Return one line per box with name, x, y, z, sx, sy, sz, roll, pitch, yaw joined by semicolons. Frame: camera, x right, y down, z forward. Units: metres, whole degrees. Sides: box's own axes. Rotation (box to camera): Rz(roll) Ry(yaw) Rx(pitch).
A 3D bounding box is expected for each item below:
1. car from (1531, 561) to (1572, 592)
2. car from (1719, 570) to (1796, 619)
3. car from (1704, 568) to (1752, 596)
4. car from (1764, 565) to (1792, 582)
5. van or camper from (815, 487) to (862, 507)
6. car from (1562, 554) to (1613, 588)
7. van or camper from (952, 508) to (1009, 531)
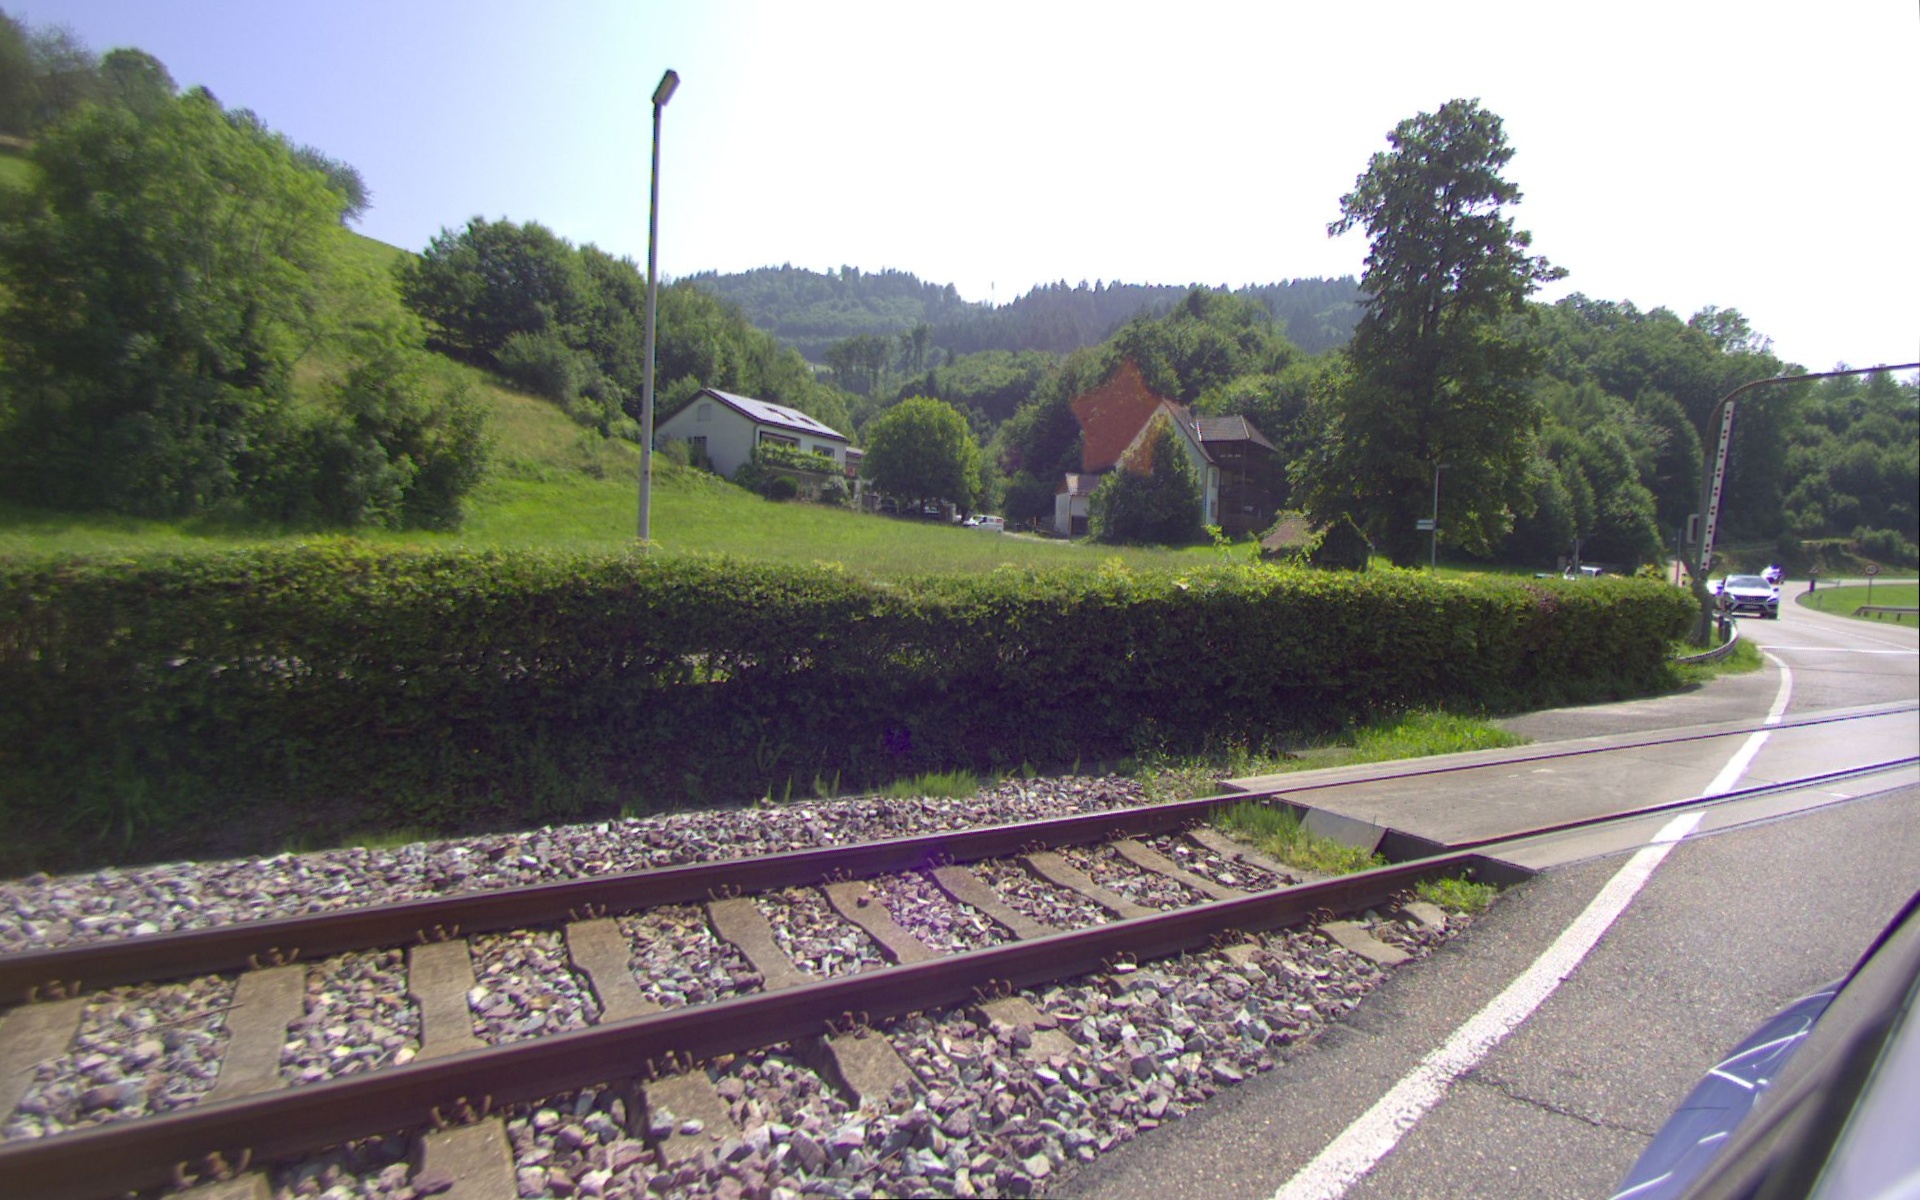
car;35.156;-1.426;60.196;1.662;1.473;3.686;6;6;25
car;34.140;-0.303;43.449;2.105;1.835;4.403;4;5;33
car;47.070;-1.123;62.096;2.136;1.508;4.612;5;4;36
car;94.700;-3.111;117.101;3.935;1.806;1.996;-1;5;-45
van or camper;-11.736;-9.964;98.116;2.015;1.661;4.997;4;4;29
car;41.068;-1.912;66.202;1.999;1.869;4.801;11;8;38
van or camper;2.048;-7.915;99.267;2.805;1.972;5.361;5;5;38
